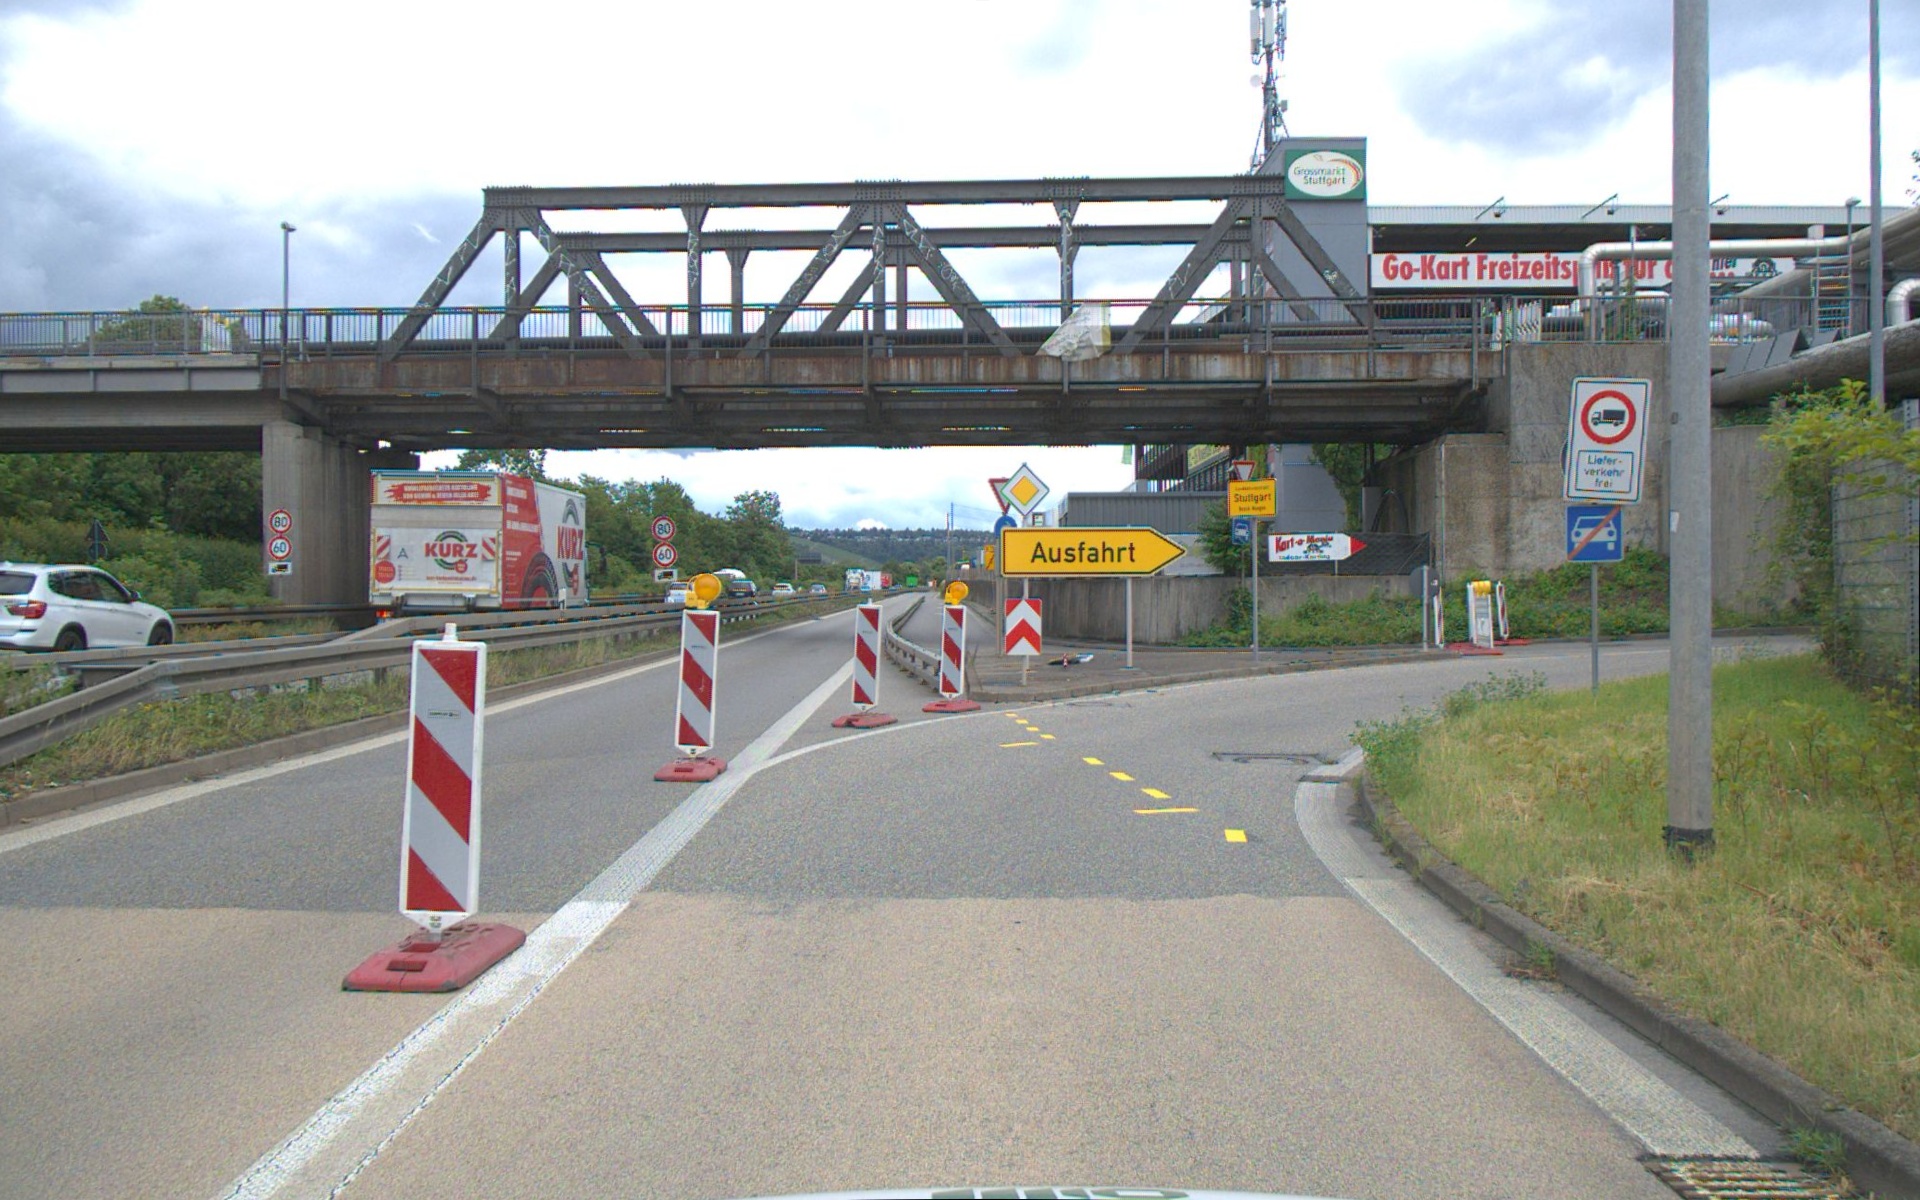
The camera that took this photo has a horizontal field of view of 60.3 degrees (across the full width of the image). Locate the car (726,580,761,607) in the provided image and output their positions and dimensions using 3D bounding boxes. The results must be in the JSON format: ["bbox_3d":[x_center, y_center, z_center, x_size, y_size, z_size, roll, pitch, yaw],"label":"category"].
[{"bbox_3d":[-14.791,-0.441,113.166,1.953,1.790,3.998,-1,0,-2],"label":"car"}]

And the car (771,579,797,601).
[{"bbox_3d":[-14.899,-0.867,140.425,1.954,1.847,3.998,0,0,-3],"label":"car"}]

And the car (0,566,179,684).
[{"bbox_3d":[-13.964,0.355,25.612,1.817,1.669,4.290,0,0,-2],"label":"car"}]

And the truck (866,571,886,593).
[{"bbox_3d":[-12.552,-2.723,248.382,2.626,3.195,6.131,1,0,0],"label":"truck"}]

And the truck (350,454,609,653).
[{"bbox_3d":[-10.028,-0.875,35.917,2.893,3.693,10.151,0,0,-1],"label":"truck"}]

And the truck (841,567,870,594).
[{"bbox_3d":[-14.456,-2.682,229.173,3.644,3.709,7.727,0,0,0],"label":"truck"}]

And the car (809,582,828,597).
[{"bbox_3d":[-15.339,-1.173,179.893,1.743,1.624,3.749,0,0,0],"label":"car"}]

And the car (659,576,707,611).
[{"bbox_3d":[-14.659,-0.334,87.675,1.953,1.790,3.999,-1,0,-1],"label":"car"}]
